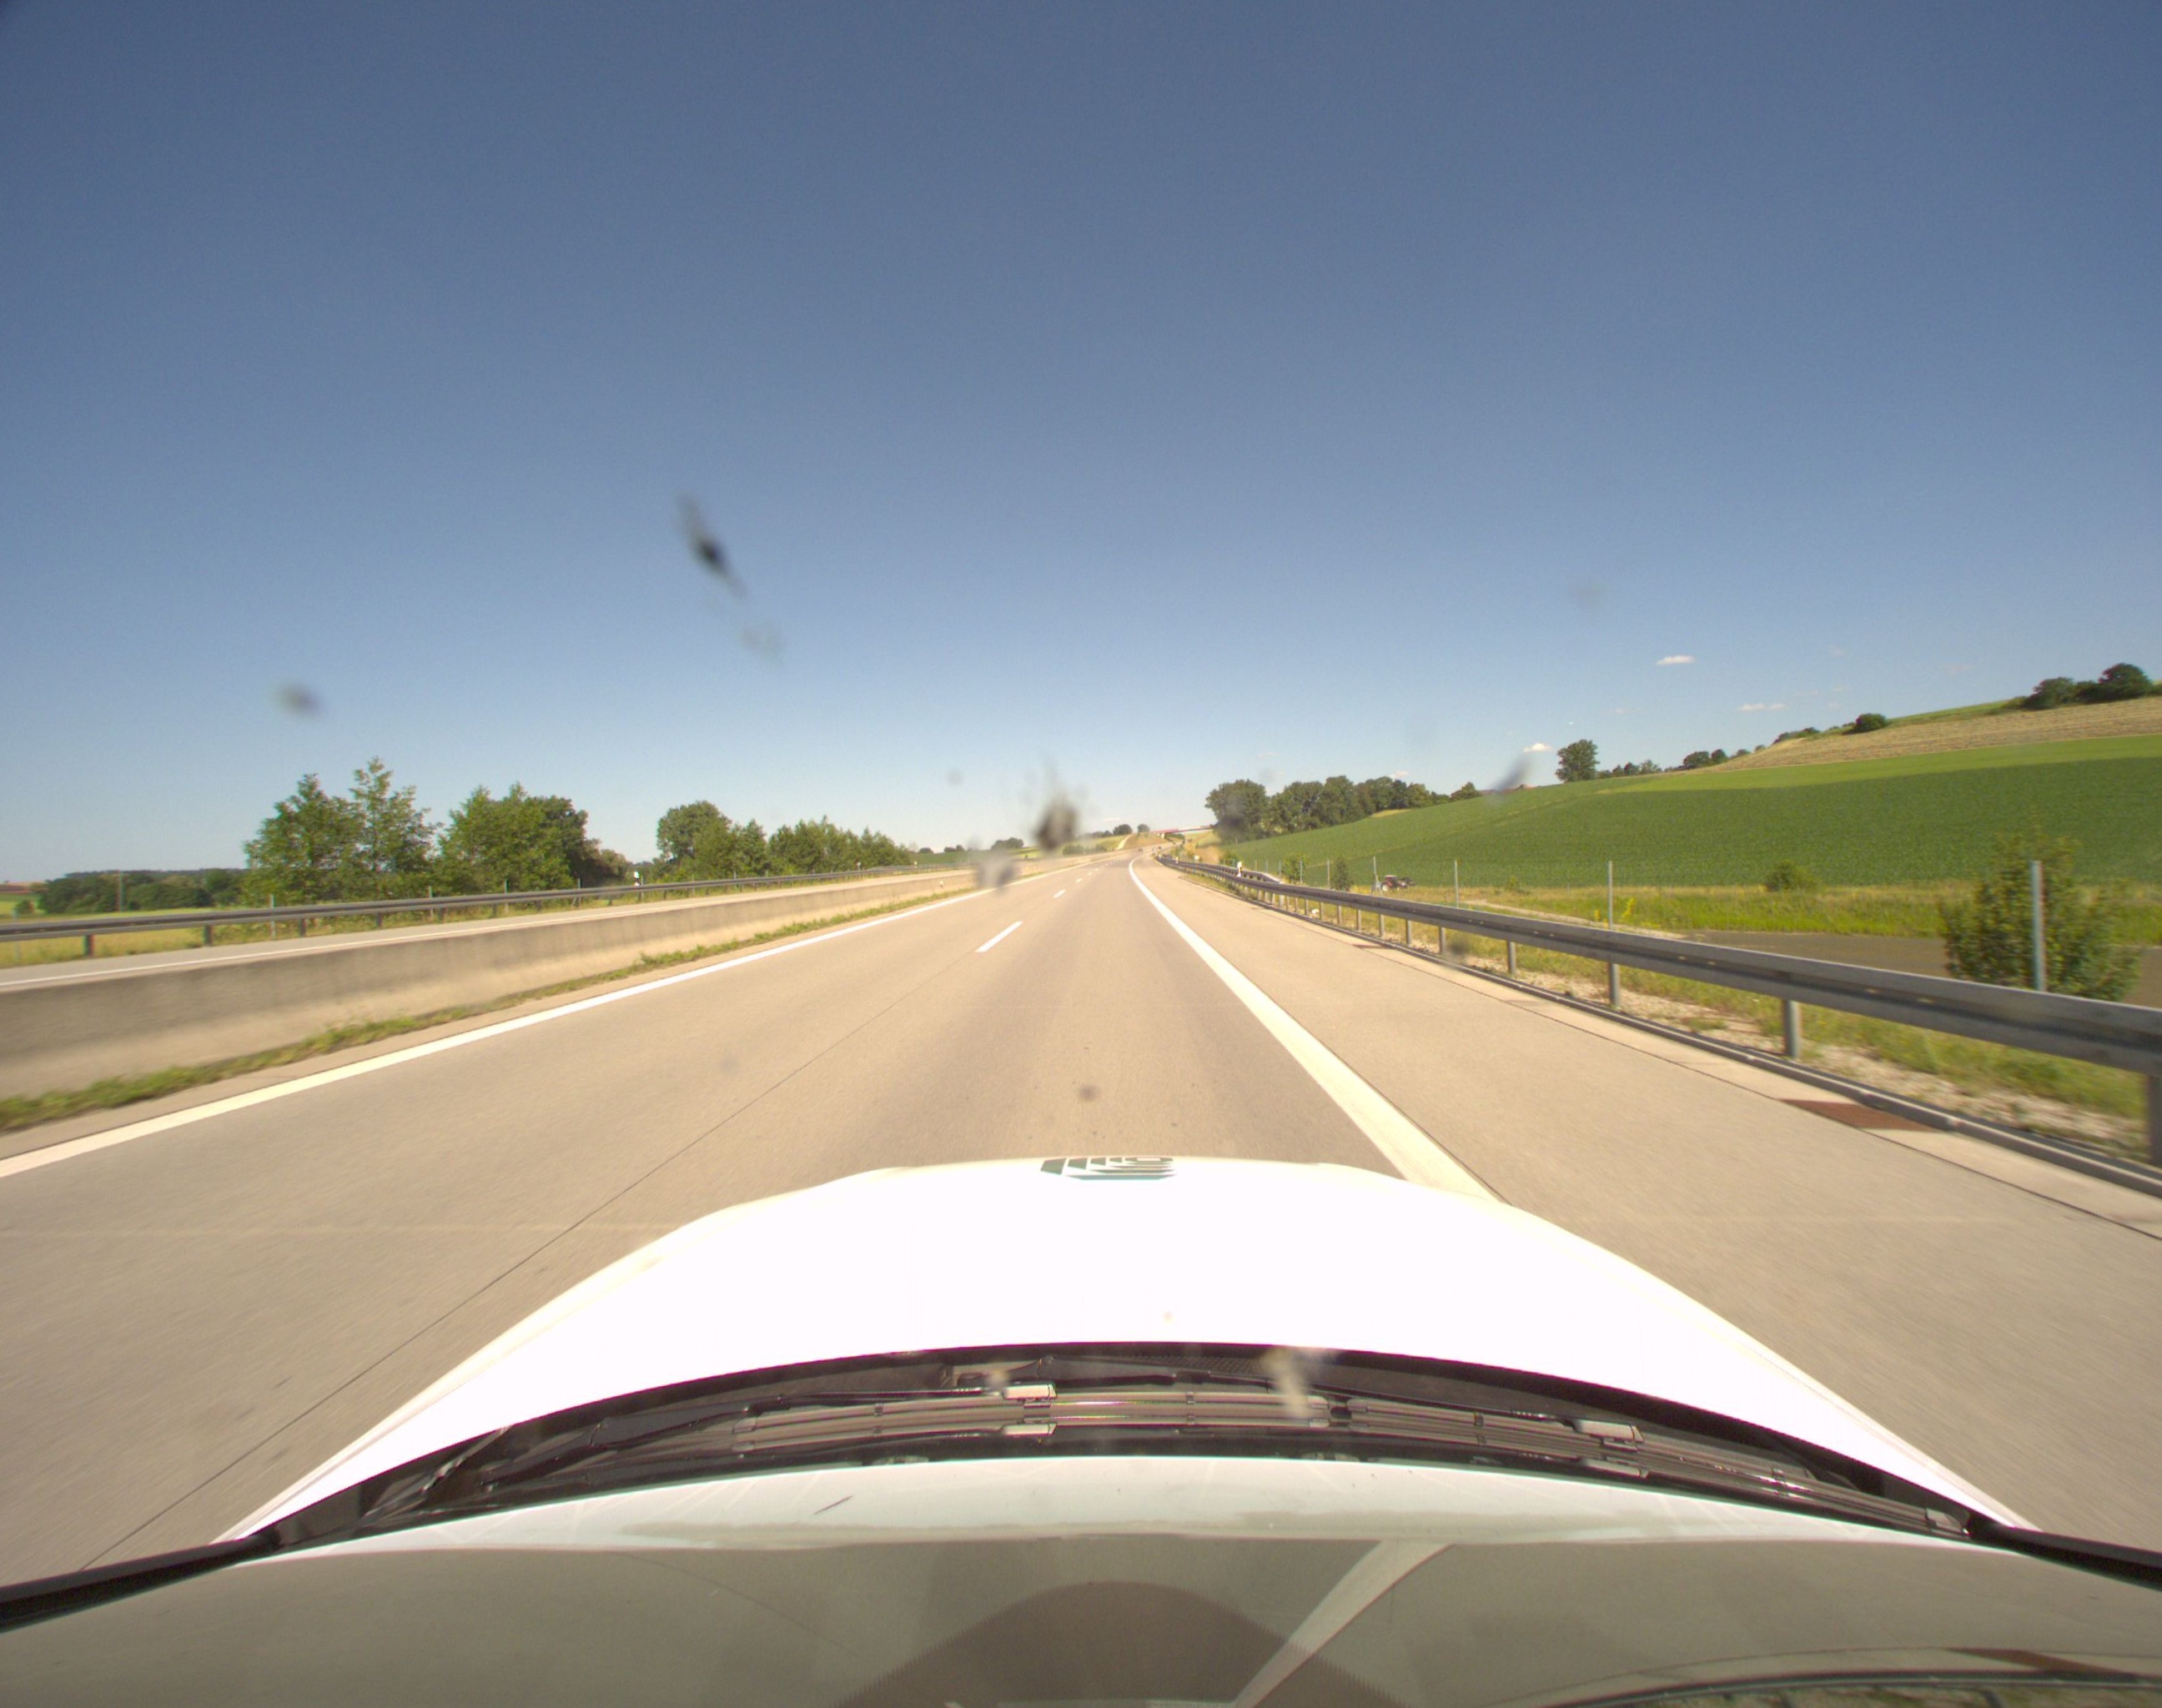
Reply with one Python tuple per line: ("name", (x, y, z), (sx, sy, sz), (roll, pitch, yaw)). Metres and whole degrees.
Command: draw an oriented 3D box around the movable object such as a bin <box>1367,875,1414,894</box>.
("movable object such as a bin", (48.323, 4.761, 127.276), (6.153, 2.771, 3.306), (-2, -2, 43))
